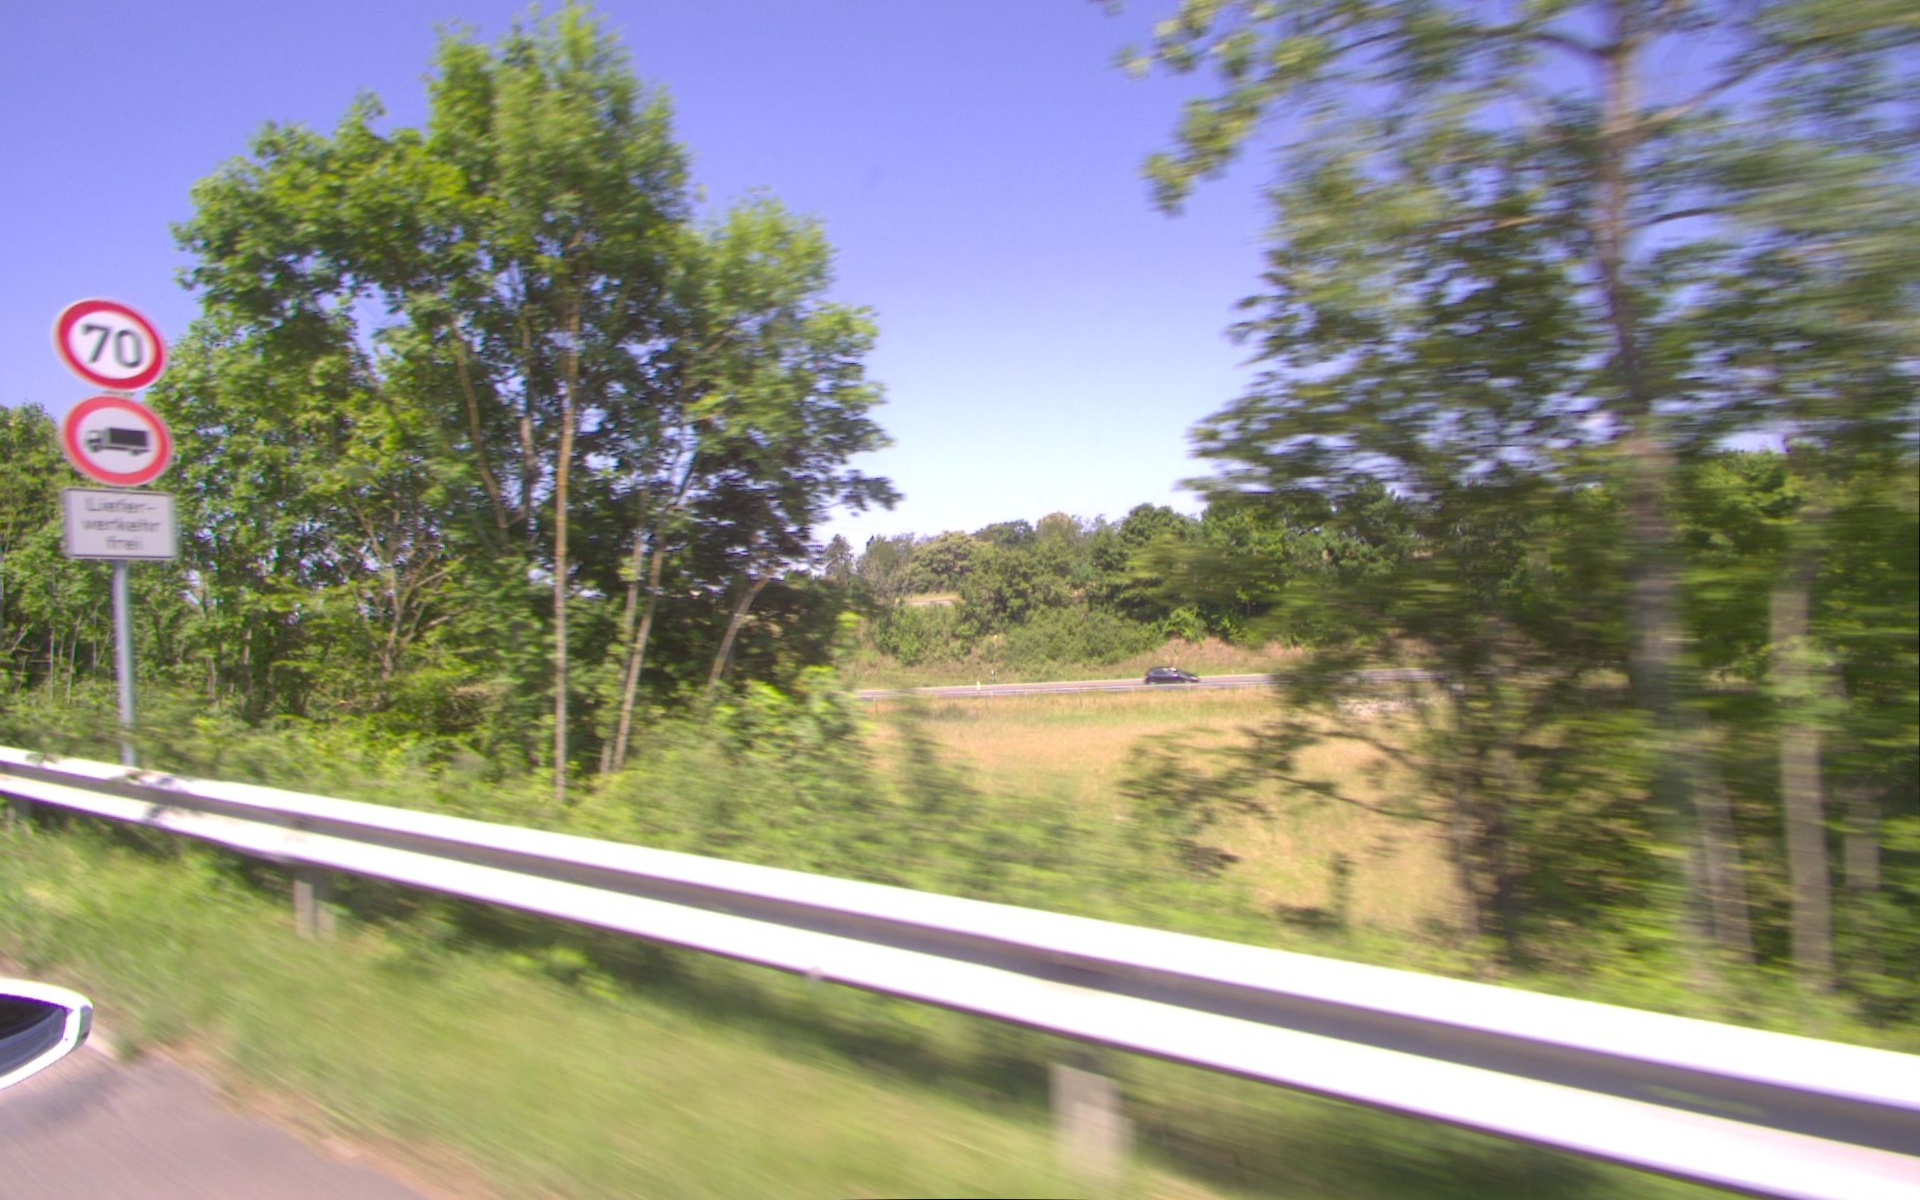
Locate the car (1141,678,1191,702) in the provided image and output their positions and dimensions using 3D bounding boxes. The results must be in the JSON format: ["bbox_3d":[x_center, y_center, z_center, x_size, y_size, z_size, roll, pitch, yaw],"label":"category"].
[{"bbox_3d":[15.355,6.740,74.733,3.591,1.712,1.607,0,-6,11],"label":"car"}]
